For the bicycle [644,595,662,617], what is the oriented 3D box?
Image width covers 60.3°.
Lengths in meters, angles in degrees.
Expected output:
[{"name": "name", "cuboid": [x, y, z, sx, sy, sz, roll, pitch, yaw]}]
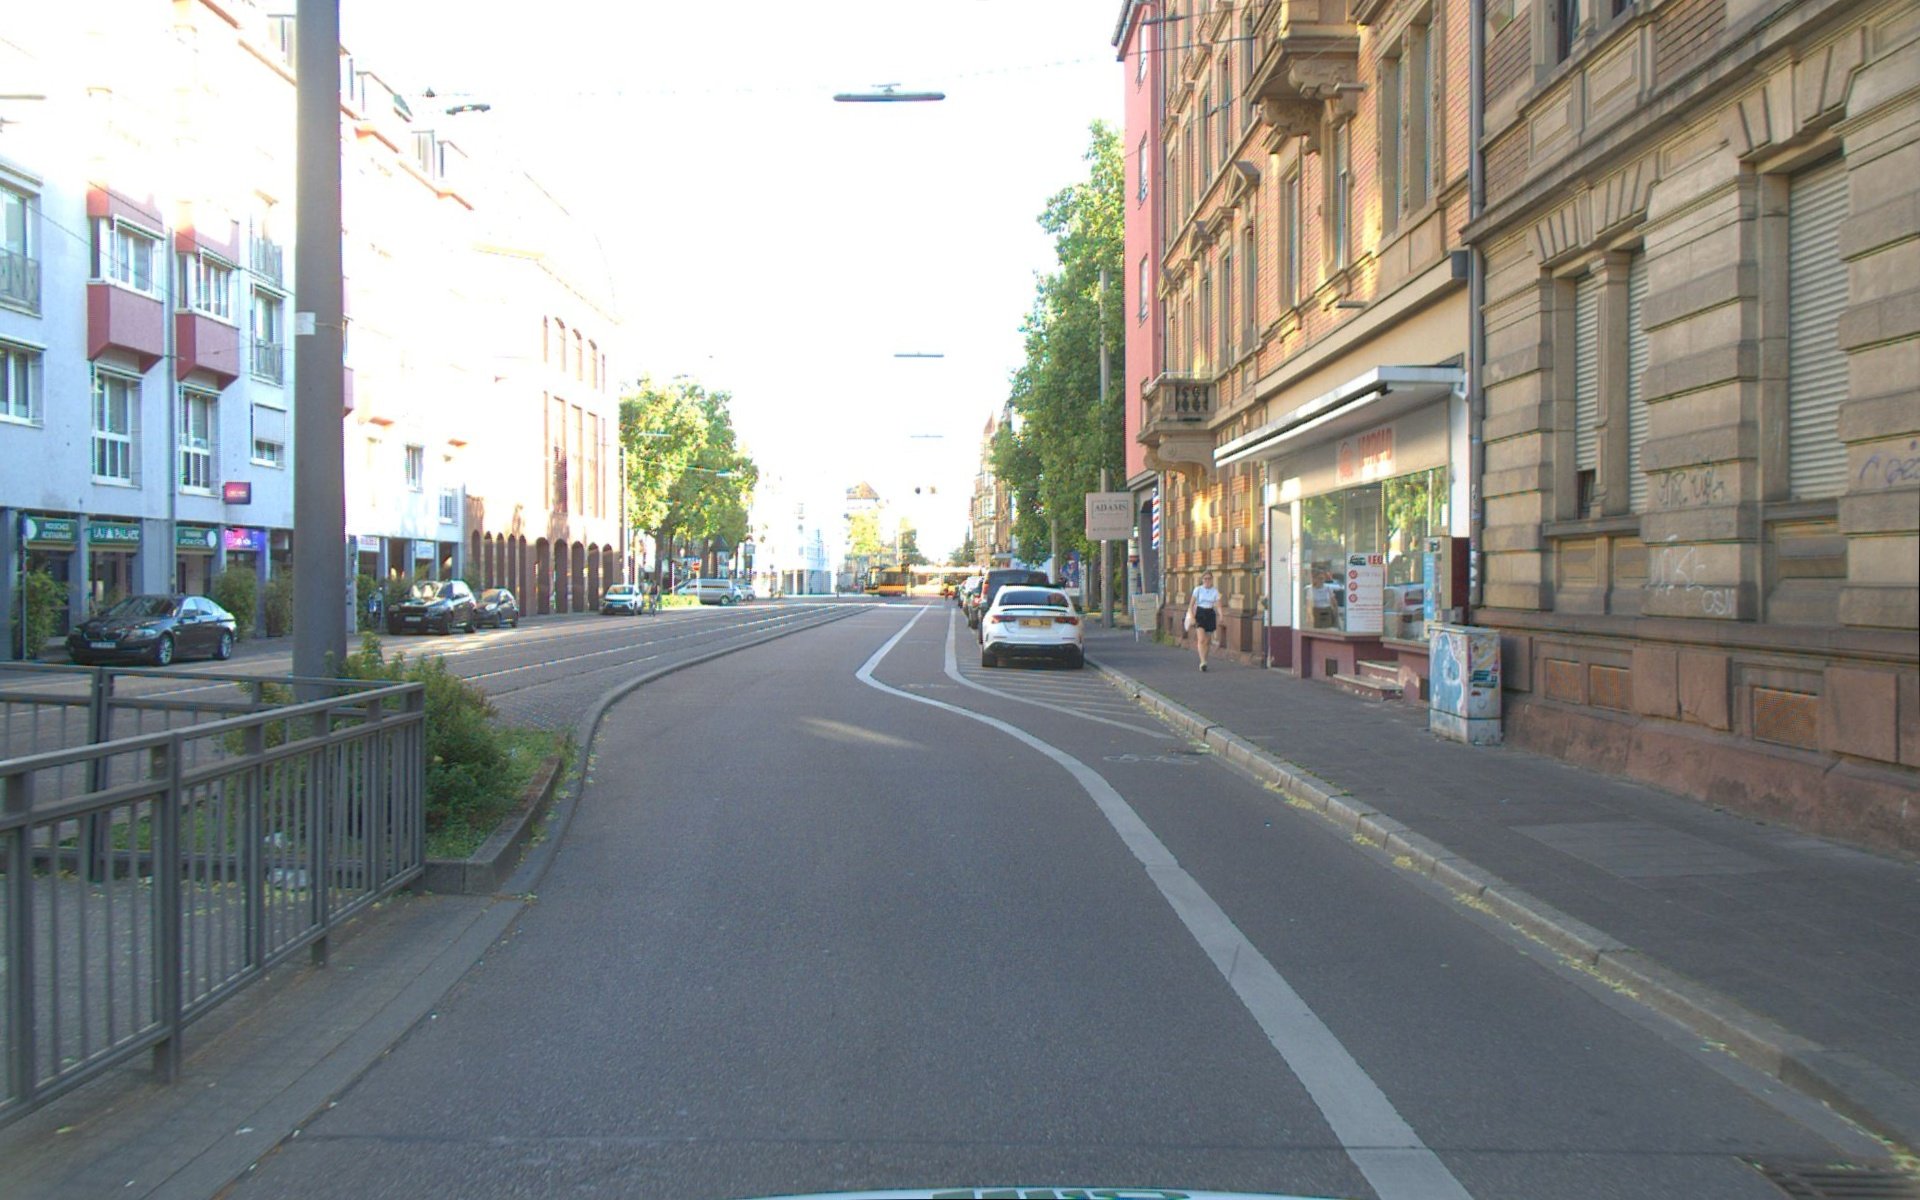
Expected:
[{"name": "bicycle", "cuboid": [-15.532, 0.301, 83.620, 0.570, 1.096, 2.184, -2, 0, -3]}]

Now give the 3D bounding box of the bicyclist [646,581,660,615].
[{"name": "bicyclist", "cuboid": [-15.548, -0.101, 83.815, 0.560, 1.742, 0.745, -2, 0, -3]}]

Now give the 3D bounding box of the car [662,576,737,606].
[{"name": "car", "cuboid": [-19.991, -0.660, 126.916, 5.203, 2.078, 2.391, 2, -2, -33]}]

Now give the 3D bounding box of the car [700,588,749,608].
[{"name": "car", "cuboid": [-20.831, -0.176, 146.182, 3.830, 1.656, 1.856, 2, 0, -32]}]

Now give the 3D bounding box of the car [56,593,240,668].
[{"name": "car", "cuboid": [-17.386, 0.610, 35.693, 1.832, 1.464, 4.704, 1, 0, -3]}]

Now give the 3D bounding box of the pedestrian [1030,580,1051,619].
[{"name": "pedestrian", "cuboid": [3.365, -0.041, 69.519, 0.760, 1.594, 0.914, -3, 0, 1]}]

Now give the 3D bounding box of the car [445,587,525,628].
[{"name": "car", "cuboid": [-17.846, 0.282, 62.315, 1.830, 1.476, 3.584, 1, 0, 2]}]

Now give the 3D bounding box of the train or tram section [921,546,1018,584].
[{"name": "train or tram section", "cuboid": [1.241, -4.249, 201.158, 12.700, 3.945, 2.667, 2, 0, -36]}]

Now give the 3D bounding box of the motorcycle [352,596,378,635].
[{"name": "motorcycle", "cuboid": [-19.061, 0.489, 53.019, 0.659, 1.226, 2.131, 2, -1, -17]}]

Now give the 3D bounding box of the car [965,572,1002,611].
[{"name": "car", "cuboid": [1.258, -0.460, 89.115, 1.930, 2.049, 4.558, -1, 0, 0]}]

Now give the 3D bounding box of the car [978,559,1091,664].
[{"name": "car", "cuboid": [1.338, 0.193, 31.436, 1.926, 1.802, 4.875, 1, 0, 0]}]

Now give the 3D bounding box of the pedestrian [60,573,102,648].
[{"name": "pedestrian", "cuboid": [-20.510, 0.233, 38.589, 0.601, 1.742, 0.745, 0, 0, -2]}]

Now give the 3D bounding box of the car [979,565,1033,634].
[{"name": "car", "cuboid": [1.525, -0.001, 54.087, 1.670, 2.157, 3.707, 1, 0, 2]}]

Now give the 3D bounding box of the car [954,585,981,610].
[{"name": "car", "cuboid": [0.483, -0.152, 107.871, 1.688, 1.595, 4.082, -1, 0, -1]}]

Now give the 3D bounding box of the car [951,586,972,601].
[{"name": "car", "cuboid": [0.112, -0.676, 167.446, 2.023, 1.413, 4.224, 3, 0, -1]}]

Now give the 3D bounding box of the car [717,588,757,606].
[{"name": "car", "cuboid": [-21.092, -0.291, 156.477, 3.486, 1.507, 1.564, 2, 0, -33]}]

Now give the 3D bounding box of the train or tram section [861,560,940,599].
[{"name": "train or tram section", "cuboid": [-6.839, -2.363, 192.440, 2.645, 4.029, 12.054, 3, 0, 33]}]

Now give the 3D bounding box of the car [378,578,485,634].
[{"name": "car", "cuboid": [-17.486, 0.215, 54.993, 2.048, 1.742, 4.817, 2, -1, -1]}]

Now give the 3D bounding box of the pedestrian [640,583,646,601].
[{"name": "pedestrian", "cuboid": [-23.655, -0.605, 123.421, 0.357, 1.366, 0.480, 2, 0, -21]}]

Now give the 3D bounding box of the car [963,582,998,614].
[{"name": "car", "cuboid": [0.958, -0.116, 78.205, 1.588, 1.456, 3.984, 1, 0, 0]}]

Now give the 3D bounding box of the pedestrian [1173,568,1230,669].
[{"name": "pedestrian", "cuboid": [3.968, 0.293, 27.216, 0.759, 1.594, 0.914, -3, 0, 2]}]

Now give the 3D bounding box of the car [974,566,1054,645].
[{"name": "car", "cuboid": [1.365, 0.129, 43.359, 1.915, 1.901, 4.989, 1, 0, 1]}]

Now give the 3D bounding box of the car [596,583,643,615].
[{"name": "car", "cuboid": [-18.232, -0.081, 88.750, 1.832, 1.628, 4.251, 1, 1, -3]}]

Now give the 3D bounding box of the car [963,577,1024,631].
[{"name": "car", "cuboid": [1.155, 0.131, 59.464, 1.910, 1.819, 5.180, 2, 0, -2]}]

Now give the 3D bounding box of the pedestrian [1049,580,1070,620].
[{"name": "pedestrian", "cuboid": [4.183, -0.004, 69.494, 0.760, 1.594, 0.914, -3, 0, 1]}]
